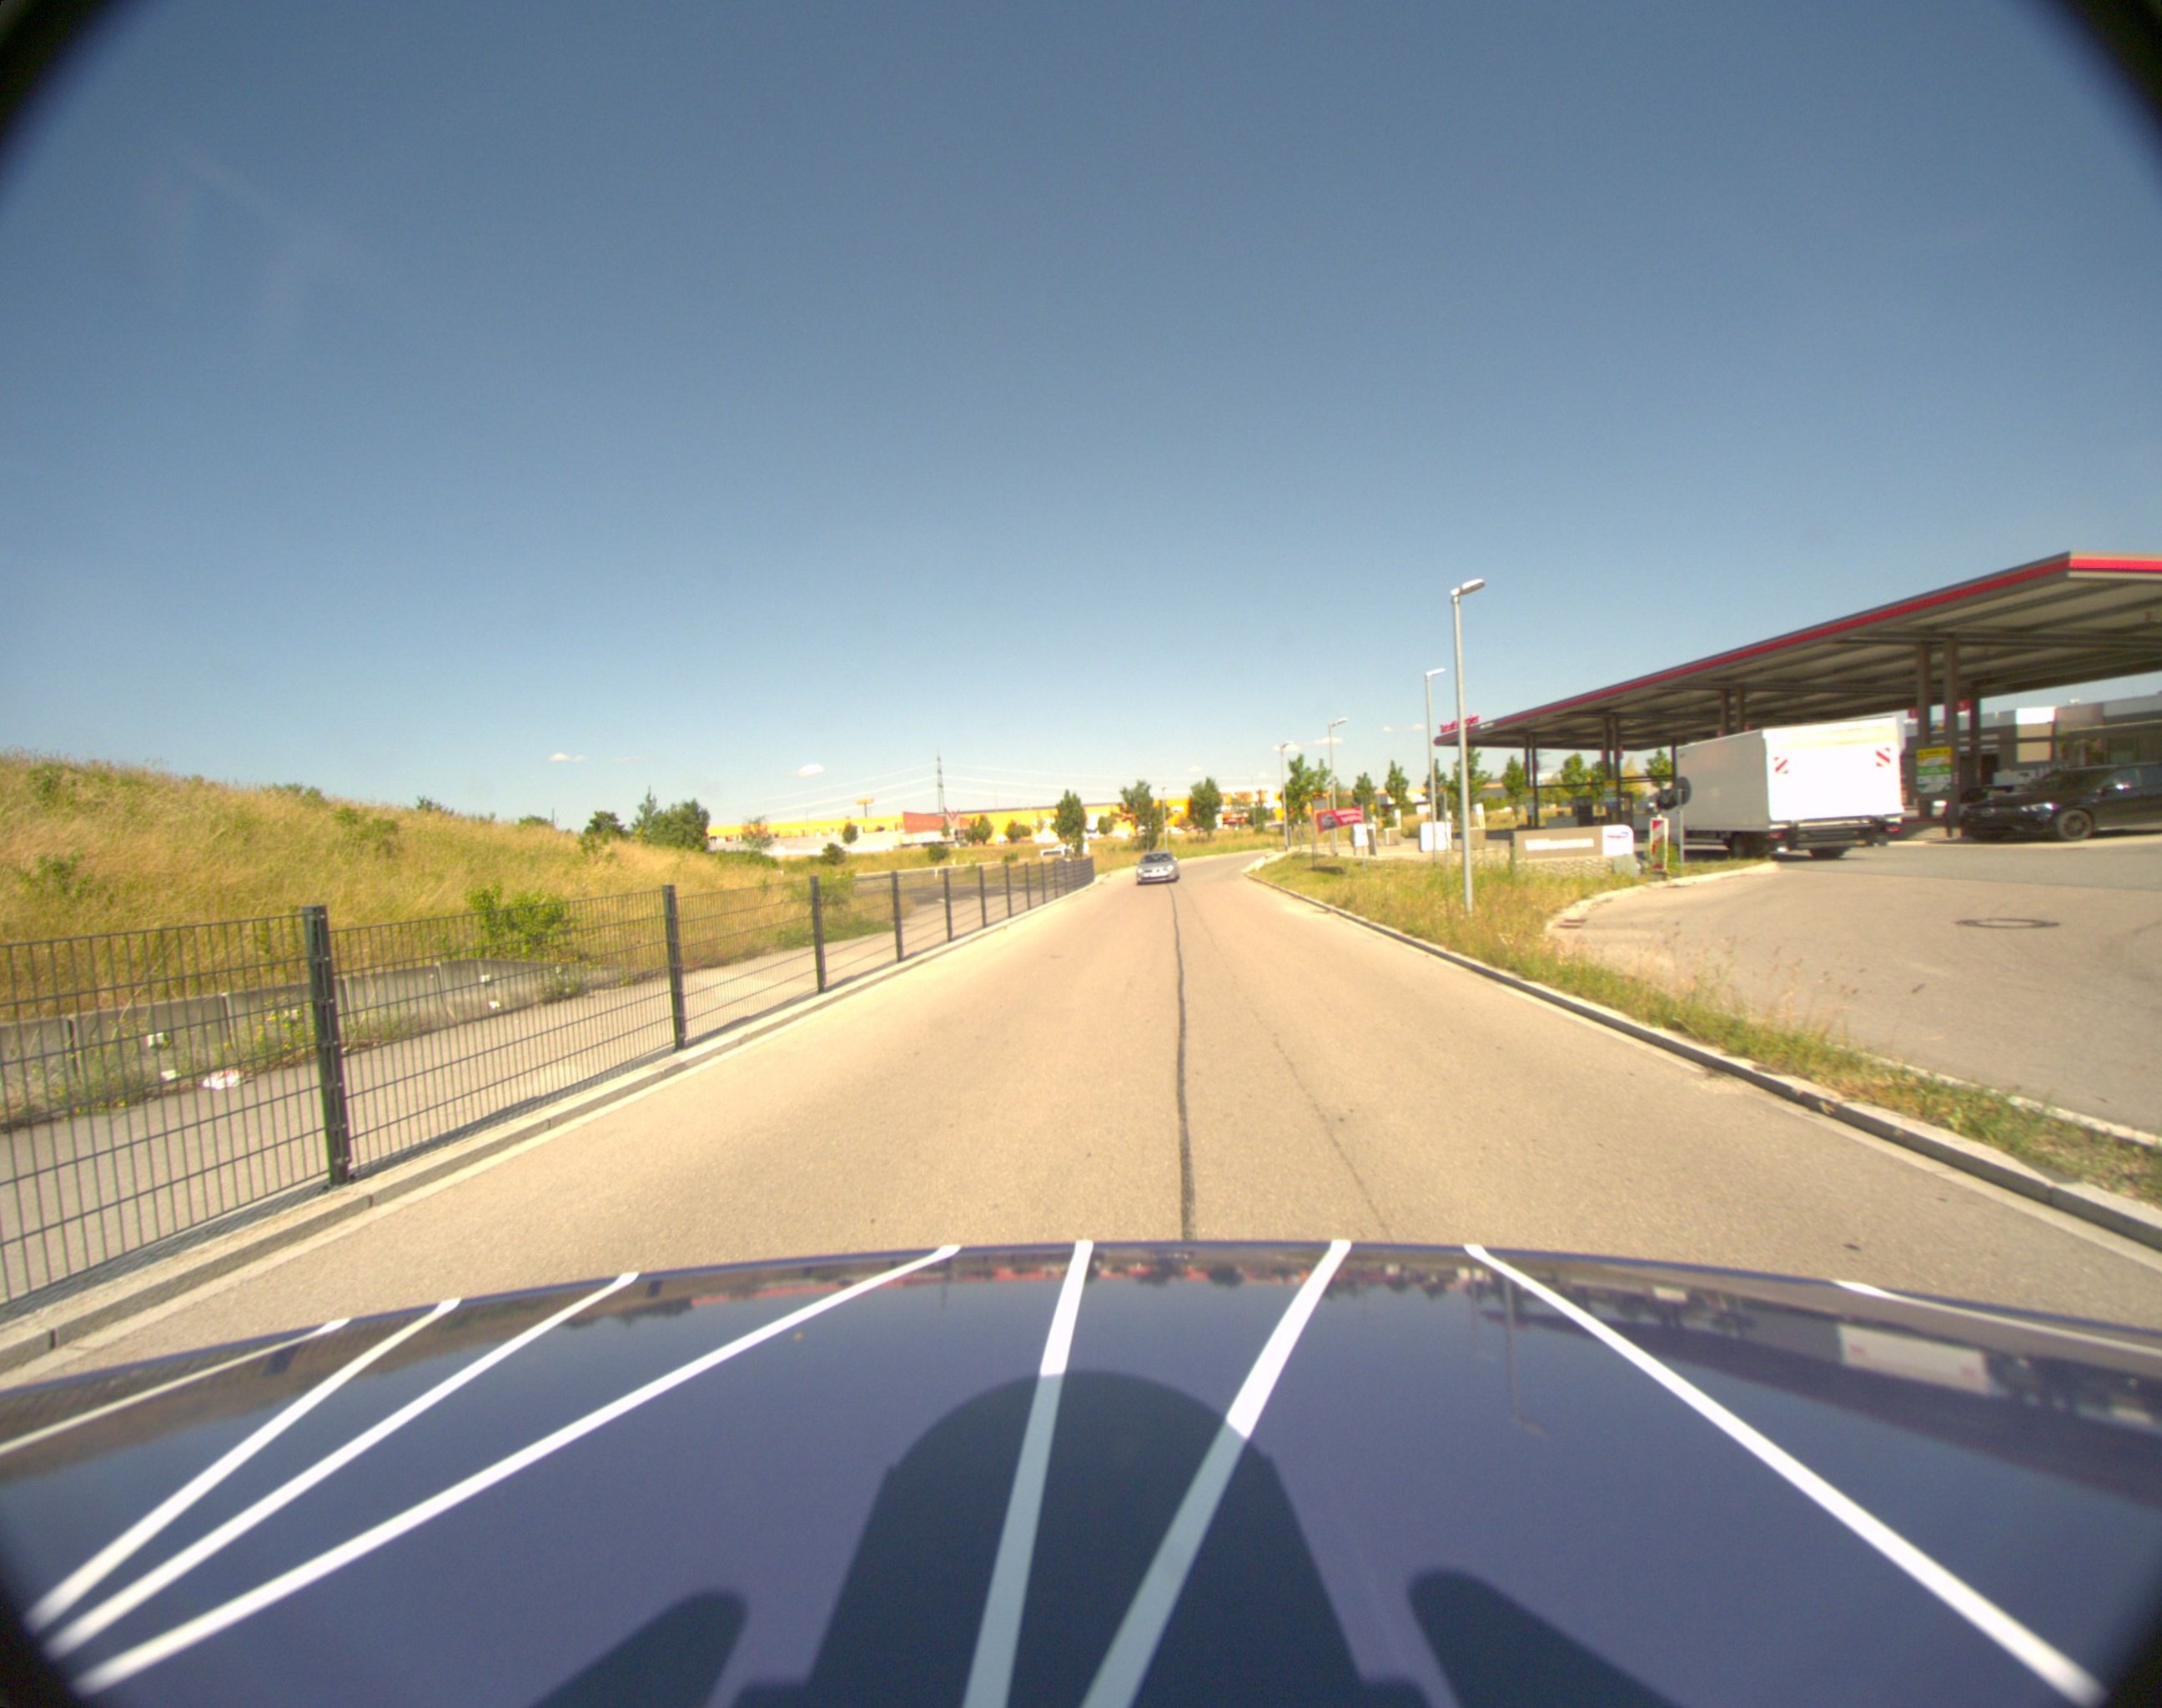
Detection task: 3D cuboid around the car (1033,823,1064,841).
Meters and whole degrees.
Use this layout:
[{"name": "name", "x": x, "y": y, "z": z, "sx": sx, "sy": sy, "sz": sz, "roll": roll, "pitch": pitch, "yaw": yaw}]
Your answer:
[{"name": "car", "x": -5.109, "y": -3.502, "z": 120.327, "sx": 4.633, "sy": 2.534, "sz": 2.000, "roll": -4, "pitch": 1, "yaw": 1}]

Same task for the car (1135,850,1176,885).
[{"name": "car", "x": 3.385, "y": 0.559, "z": 34.664, "sx": 1.745, "sy": 1.459, "sz": 3.961, "roll": -1, "pitch": 1, "yaw": 5}]

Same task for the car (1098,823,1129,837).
[{"name": "car", "x": 5.107, "y": -3.773, "z": 119.615, "sx": 4.633, "sy": 2.002, "sz": 2.000, "roll": -4, "pitch": 1, "yaw": 1}]

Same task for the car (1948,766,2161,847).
[{"name": "car", "x": 24.973, "y": -1.190, "z": 18.942, "sx": 4.517, "sy": 1.748, "sz": 1.796, "roll": -4, "pitch": 1, "yaw": 1}]

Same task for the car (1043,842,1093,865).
[{"name": "car", "x": -1.286, "y": -0.084, "z": 77.167, "sx": 4.754, "sy": 2.002, "sz": 2.000, "roll": -4, "pitch": 1, "yaw": 4}]

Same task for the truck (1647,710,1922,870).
[{"name": "truck", "x": 17.851, "y": -1.469, "z": 20.000, "sx": 2.636, "sy": 3.299, "sz": 6.913, "roll": -3, "pitch": 1, "yaw": 19}]

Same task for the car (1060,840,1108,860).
[{"name": "car", "x": 0.367, "y": -0.486, "z": 87.102, "sx": 5.251, "sy": 2.002, "sz": 2.000, "roll": -4, "pitch": 1, "yaw": 0}]
